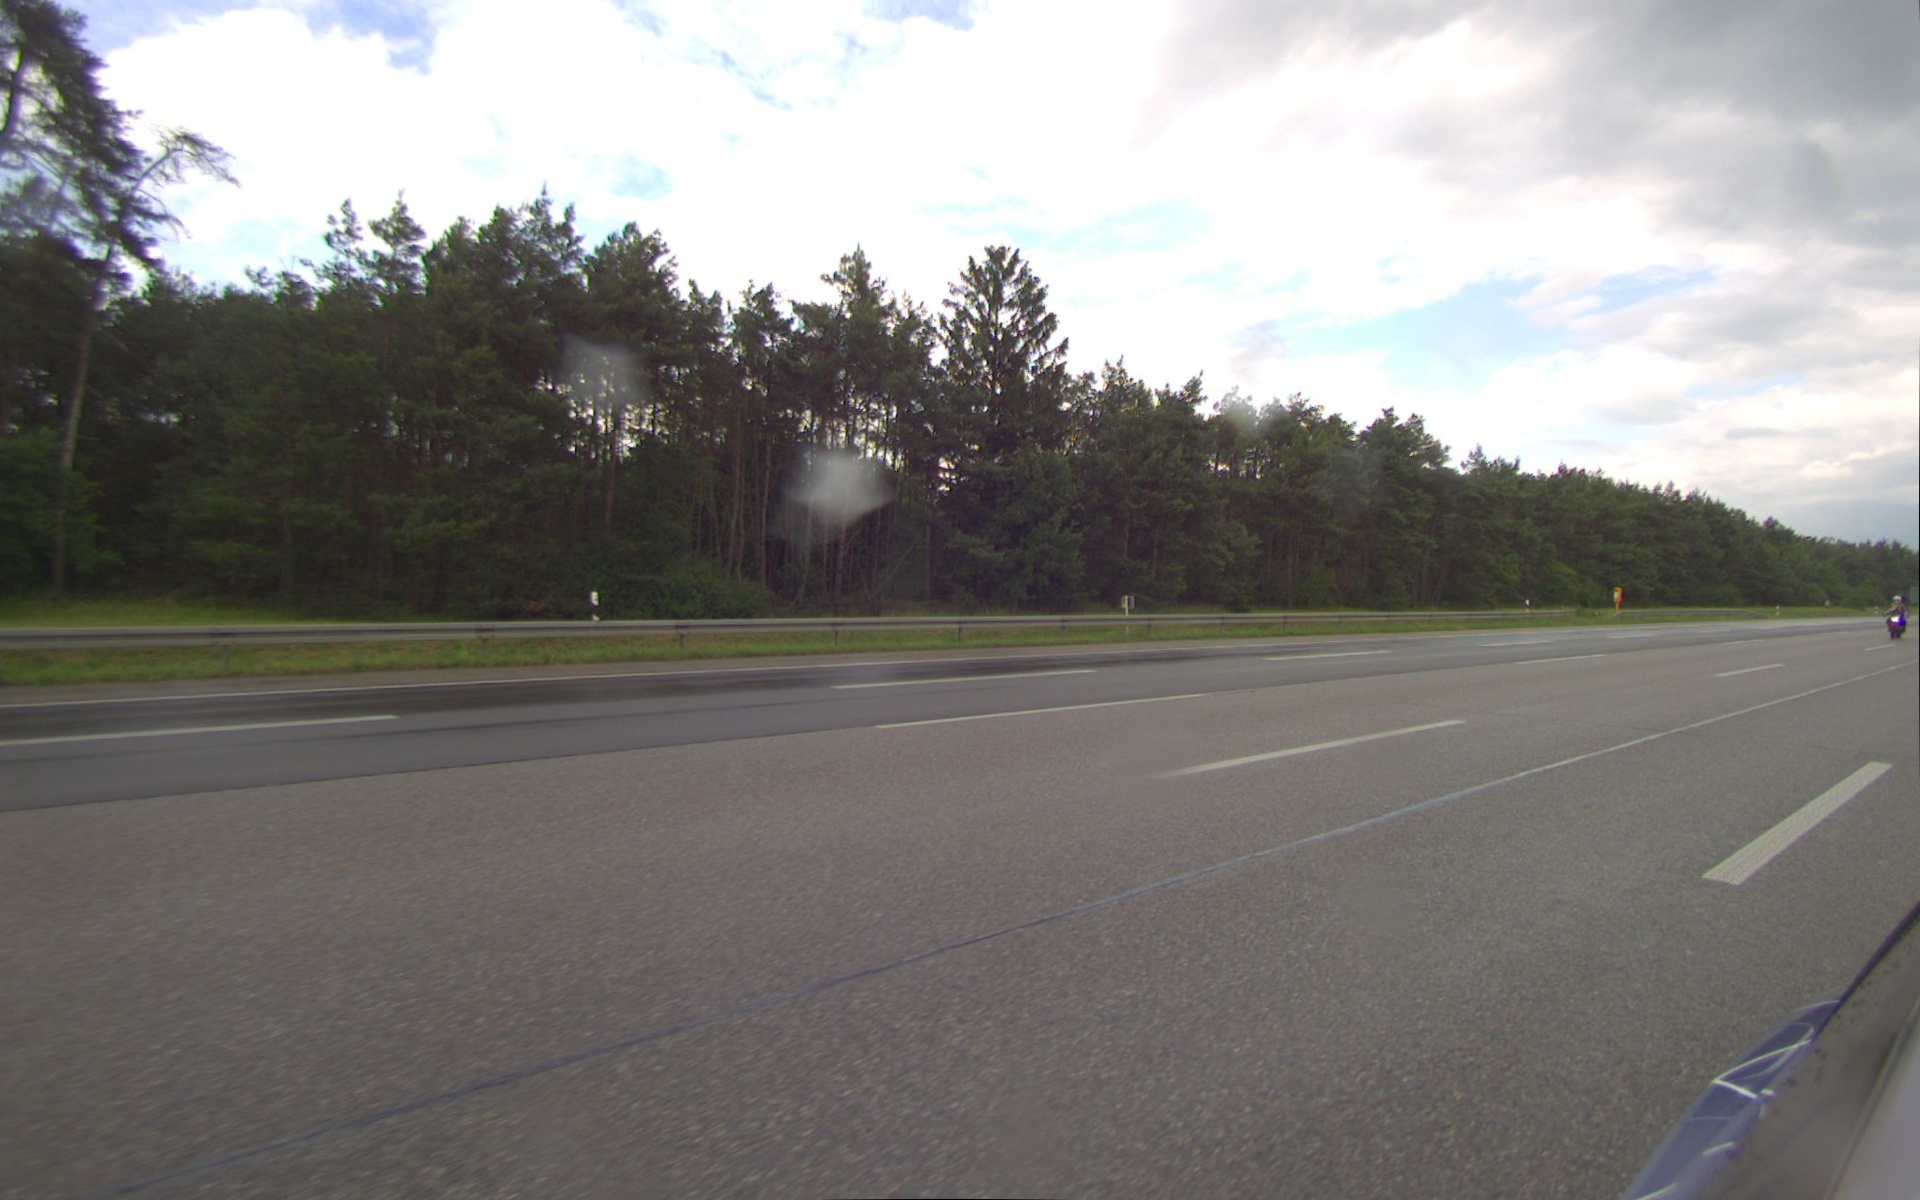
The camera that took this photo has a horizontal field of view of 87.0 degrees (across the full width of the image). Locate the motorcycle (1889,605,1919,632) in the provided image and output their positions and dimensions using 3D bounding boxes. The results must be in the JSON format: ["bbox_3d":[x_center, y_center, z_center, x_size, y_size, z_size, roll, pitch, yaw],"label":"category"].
[{"bbox_3d":[39.302,0.759,41.789,2.133,1.044,1.003,1,1,-37],"label":"motorcycle"}]

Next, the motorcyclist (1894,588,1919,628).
[{"bbox_3d":[39.239,0.326,41.736,0.941,1.635,0.894,1,0,-37],"label":"motorcyclist"}]
